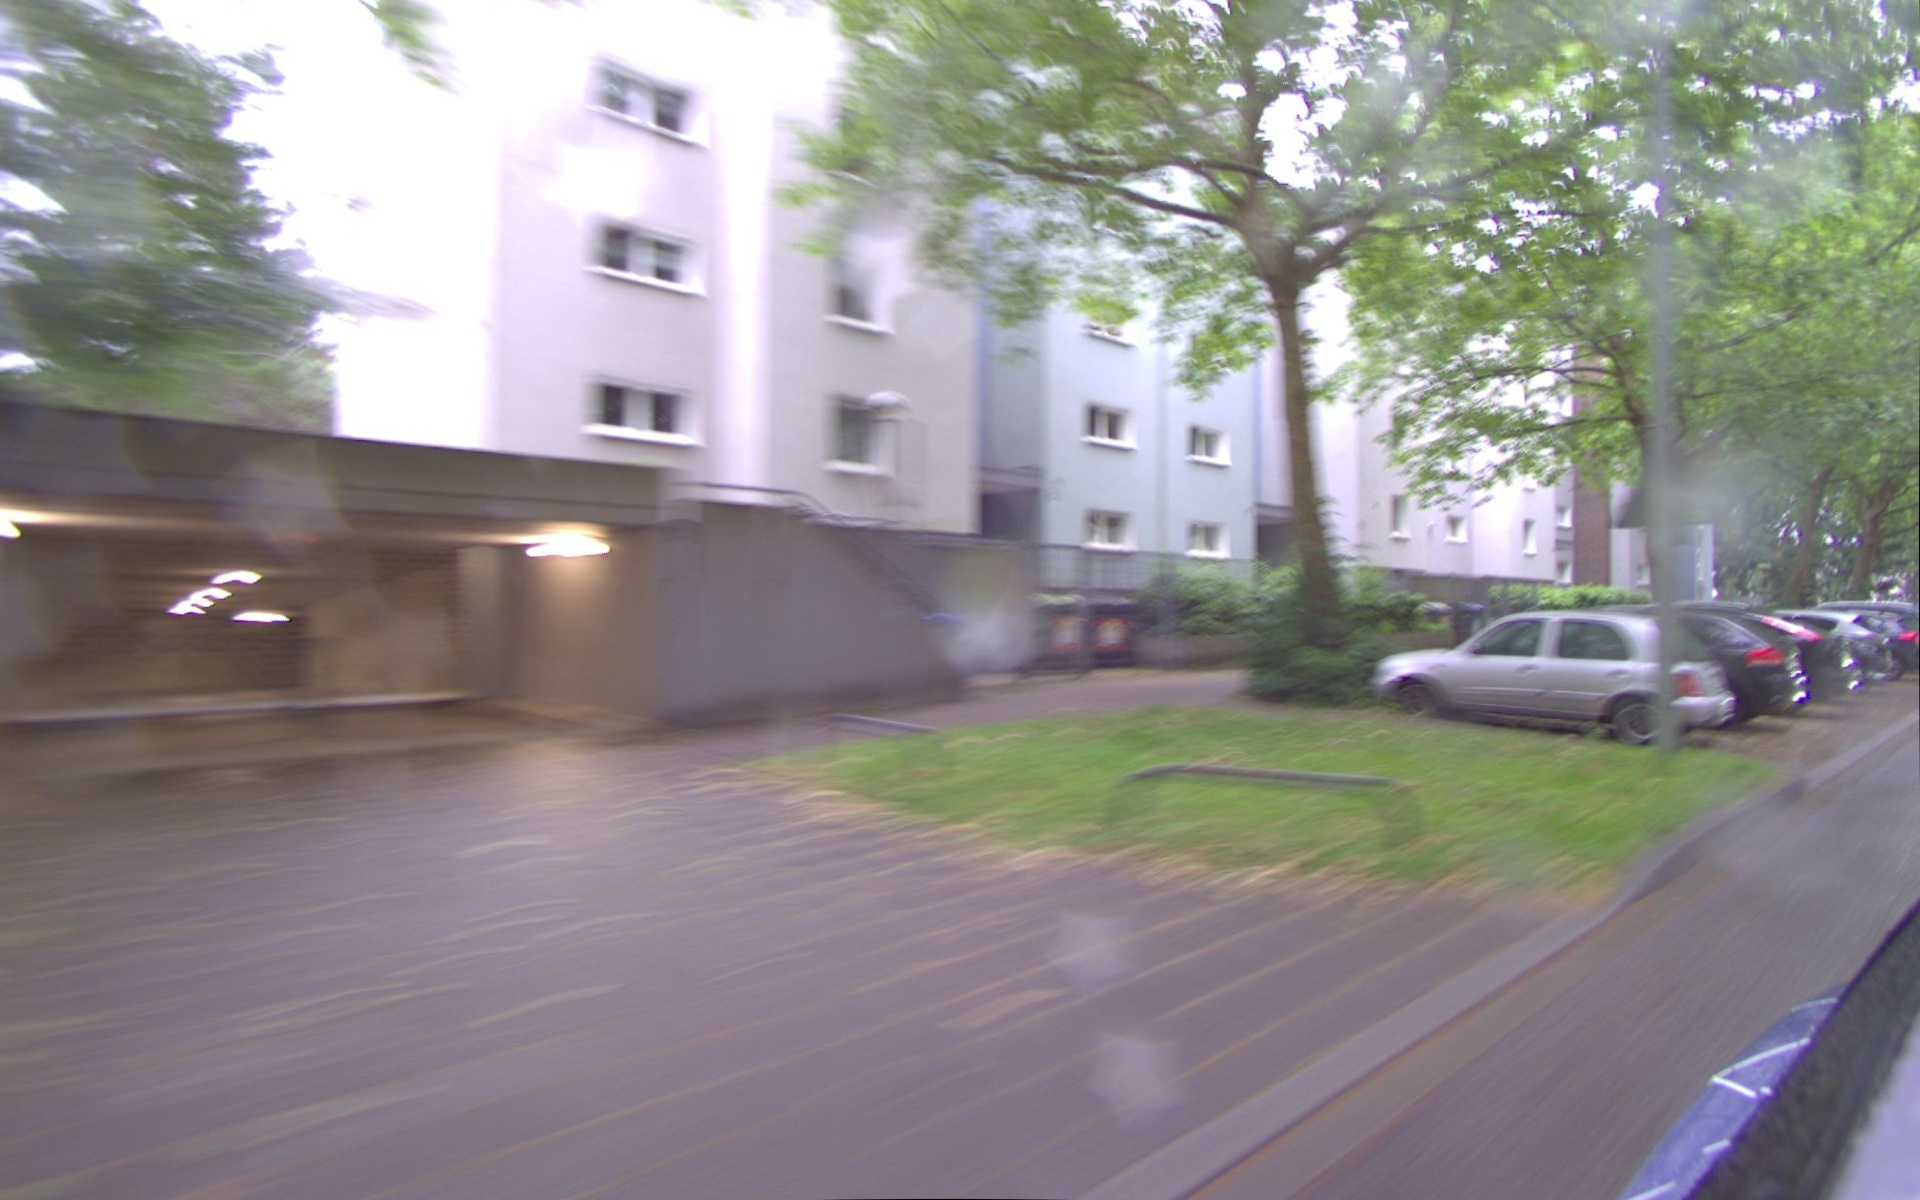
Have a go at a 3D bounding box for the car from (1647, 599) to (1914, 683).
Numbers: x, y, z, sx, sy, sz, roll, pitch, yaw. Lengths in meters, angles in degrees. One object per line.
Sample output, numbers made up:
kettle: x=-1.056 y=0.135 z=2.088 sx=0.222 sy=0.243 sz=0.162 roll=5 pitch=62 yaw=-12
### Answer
car: x=17.343 y=0.811 z=21.545 sx=1.717 sy=1.604 sz=4.214 roll=1 pitch=-1 yaw=-43

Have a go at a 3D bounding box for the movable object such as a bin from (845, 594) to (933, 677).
movable object such as a bin: x=-1.179 y=0.575 z=16.913 sx=1.153 sy=1.327 sz=0.904 roll=1 pitch=-1 yaw=-41

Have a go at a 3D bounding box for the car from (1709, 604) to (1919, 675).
car: x=19.511 y=0.866 z=22.762 sx=1.657 sy=1.460 sz=4.038 roll=1 pitch=-2 yaw=-43

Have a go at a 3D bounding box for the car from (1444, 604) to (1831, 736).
car: x=8.824 y=0.804 z=13.464 sx=1.649 sy=1.456 sz=3.994 roll=1 pitch=-1 yaw=-40

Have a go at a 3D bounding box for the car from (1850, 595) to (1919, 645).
car: x=34.654 y=0.762 z=36.168 sx=3.822 sy=1.719 sz=1.824 roll=2 pitch=-1 yaw=22

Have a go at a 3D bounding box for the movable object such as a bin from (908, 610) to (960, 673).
movable object such as a bin: x=-0.462 y=0.715 z=17.747 sx=0.611 sy=1.080 sz=0.688 roll=1 pitch=-1 yaw=-40

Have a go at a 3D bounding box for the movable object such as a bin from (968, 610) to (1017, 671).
movable object such as a bin: x=0.595 y=0.737 z=18.640 sx=0.611 sy=1.080 sz=0.661 roll=1 pitch=-1 yaw=-40

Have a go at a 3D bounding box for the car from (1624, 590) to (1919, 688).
car: x=15.651 y=0.705 z=19.697 sx=1.880 sy=1.677 sz=4.216 roll=1 pitch=-1 yaw=-41

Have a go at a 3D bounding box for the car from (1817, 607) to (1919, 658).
car: x=29.263 y=0.995 z=31.319 sx=1.770 sy=1.532 sz=3.991 roll=1 pitch=-2 yaw=-42

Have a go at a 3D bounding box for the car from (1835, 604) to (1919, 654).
car: x=31.235 y=0.959 z=33.096 sx=1.706 sy=1.556 sz=3.714 roll=1 pitch=1 yaw=-37

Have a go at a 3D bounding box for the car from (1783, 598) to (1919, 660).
car: x=27.239 y=0.856 z=30.111 sx=1.769 sy=1.750 sz=3.994 roll=1 pitch=-2 yaw=-40

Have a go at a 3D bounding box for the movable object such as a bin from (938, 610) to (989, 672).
movable object such as a bin: x=0.060 y=0.729 z=18.242 sx=0.611 sy=1.080 sz=0.688 roll=1 pitch=-1 yaw=-40

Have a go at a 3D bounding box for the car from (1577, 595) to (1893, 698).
car: x=13.079 y=0.728 z=17.263 sx=1.750 sy=1.550 sz=4.045 roll=1 pitch=-1 yaw=-43

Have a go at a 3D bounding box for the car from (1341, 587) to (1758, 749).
car: x=6.826 y=0.671 z=12.070 sx=1.649 sy=1.599 sz=3.994 roll=1 pitch=-1 yaw=-40

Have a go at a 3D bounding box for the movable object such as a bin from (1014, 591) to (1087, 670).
movable object such as a bin: x=1.735 y=0.565 z=19.363 sx=1.094 sy=1.456 sz=0.865 roll=1 pitch=-1 yaw=-41

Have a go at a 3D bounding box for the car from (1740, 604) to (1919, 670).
car: x=22.466 y=0.925 z=25.675 sx=1.602 sy=1.557 sz=3.993 roll=1 pitch=-2 yaw=-40

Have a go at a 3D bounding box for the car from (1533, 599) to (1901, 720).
car: x=11.121 y=0.767 z=15.105 sx=1.831 sy=1.533 sz=4.108 roll=1 pitch=-1 yaw=-40

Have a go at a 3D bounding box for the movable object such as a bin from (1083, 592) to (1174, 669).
movable object such as a bin: x=3.318 y=0.584 z=19.935 sx=1.321 sy=1.456 sz=1.205 roll=1 pitch=-1 yaw=-40

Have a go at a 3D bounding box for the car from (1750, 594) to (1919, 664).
car: x=24.459 y=0.790 z=27.576 sx=1.786 sy=1.785 sz=4.344 roll=1 pitch=-2 yaw=-40
